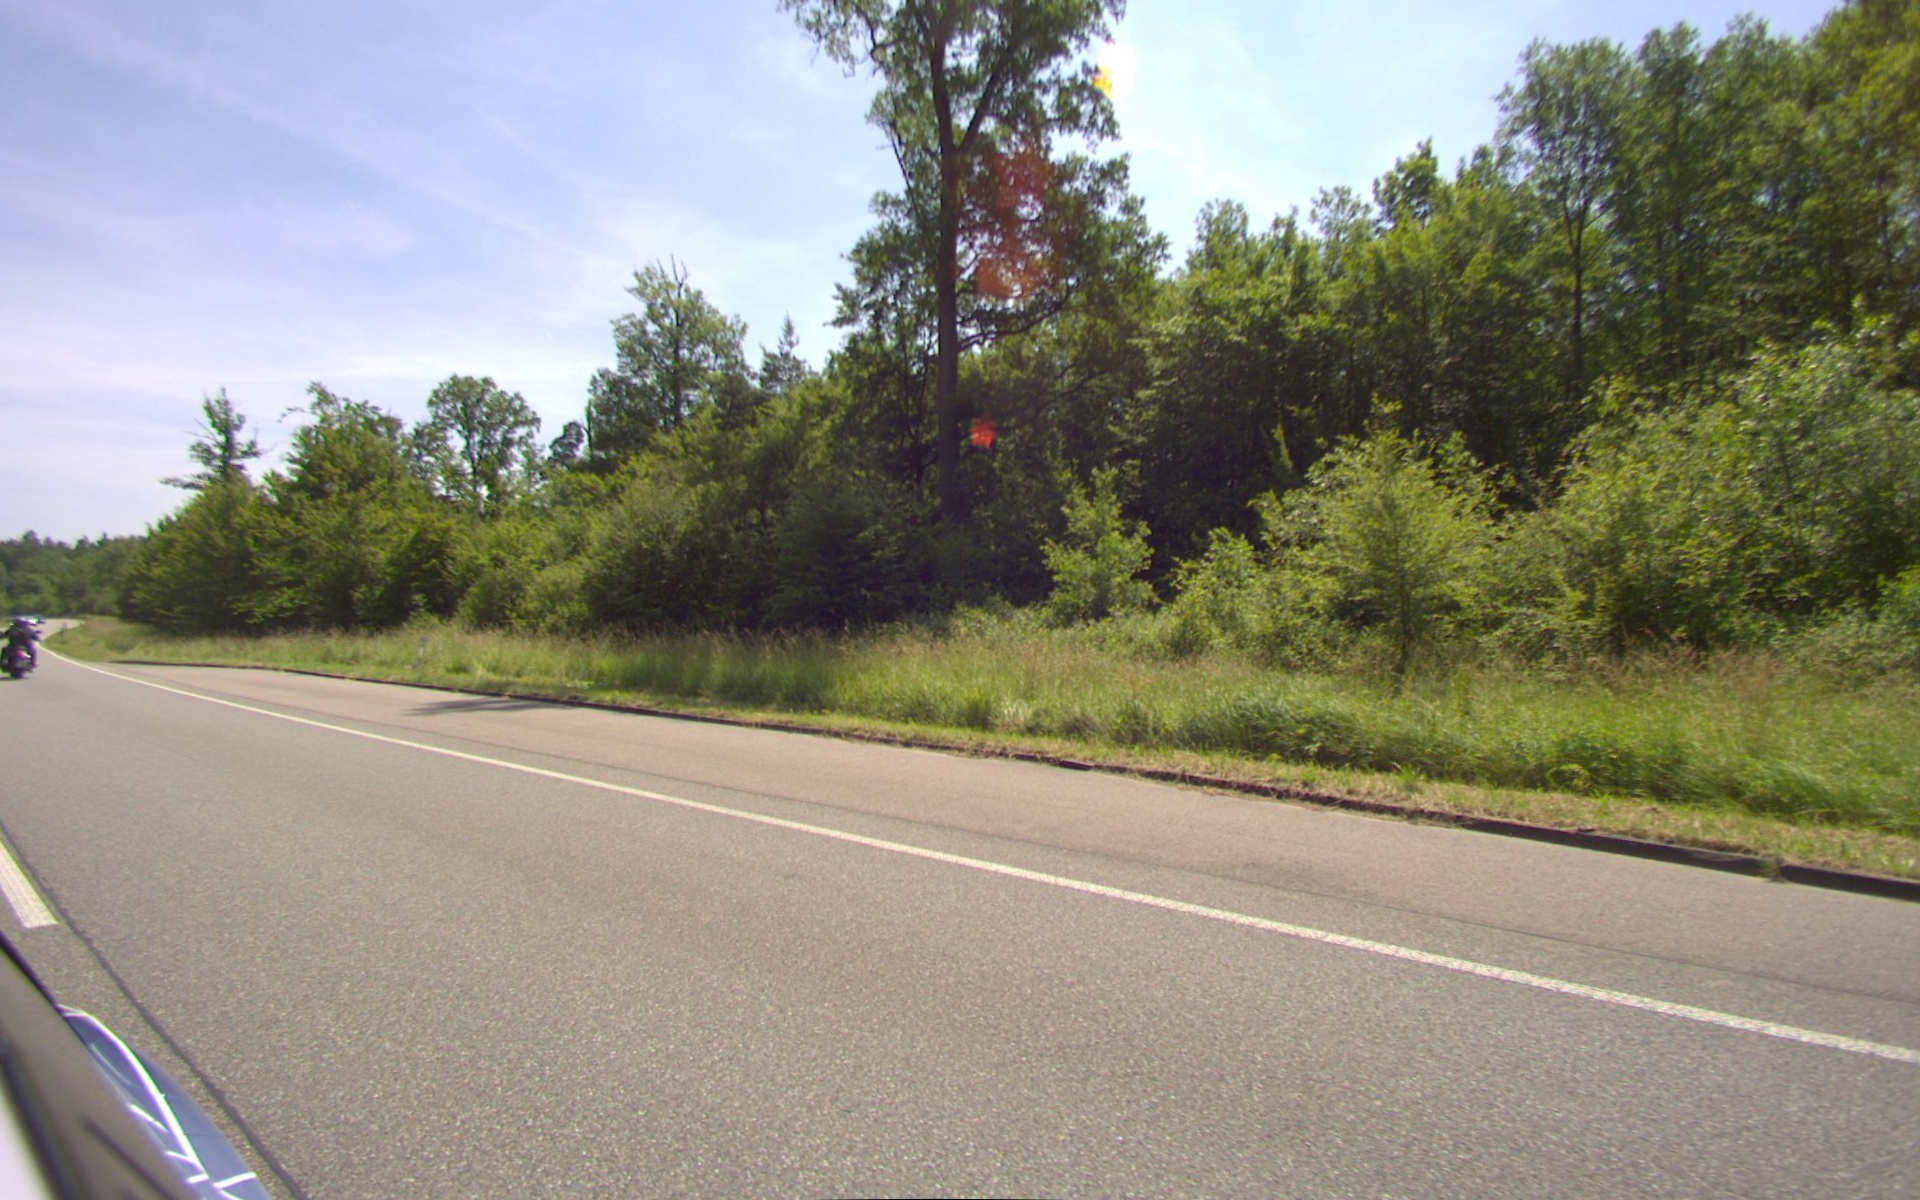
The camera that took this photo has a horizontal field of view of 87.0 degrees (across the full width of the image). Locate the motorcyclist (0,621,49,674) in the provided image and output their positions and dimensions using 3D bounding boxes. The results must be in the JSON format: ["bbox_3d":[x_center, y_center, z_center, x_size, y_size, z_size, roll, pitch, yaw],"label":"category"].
[{"bbox_3d":[-24.385,1.224,26.321,0.998,1.337,0.966,0,-1,-45],"label":"motorcyclist"}]

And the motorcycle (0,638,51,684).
[{"bbox_3d":[-24.312,1.554,26.227,1.002,1.071,2.774,0,-1,-44],"label":"motorcycle"}]

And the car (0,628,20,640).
[{"bbox_3d":[-120.520,4.263,128.229,1.749,1.474,4.008,0,-1,-38],"label":"car"}]
